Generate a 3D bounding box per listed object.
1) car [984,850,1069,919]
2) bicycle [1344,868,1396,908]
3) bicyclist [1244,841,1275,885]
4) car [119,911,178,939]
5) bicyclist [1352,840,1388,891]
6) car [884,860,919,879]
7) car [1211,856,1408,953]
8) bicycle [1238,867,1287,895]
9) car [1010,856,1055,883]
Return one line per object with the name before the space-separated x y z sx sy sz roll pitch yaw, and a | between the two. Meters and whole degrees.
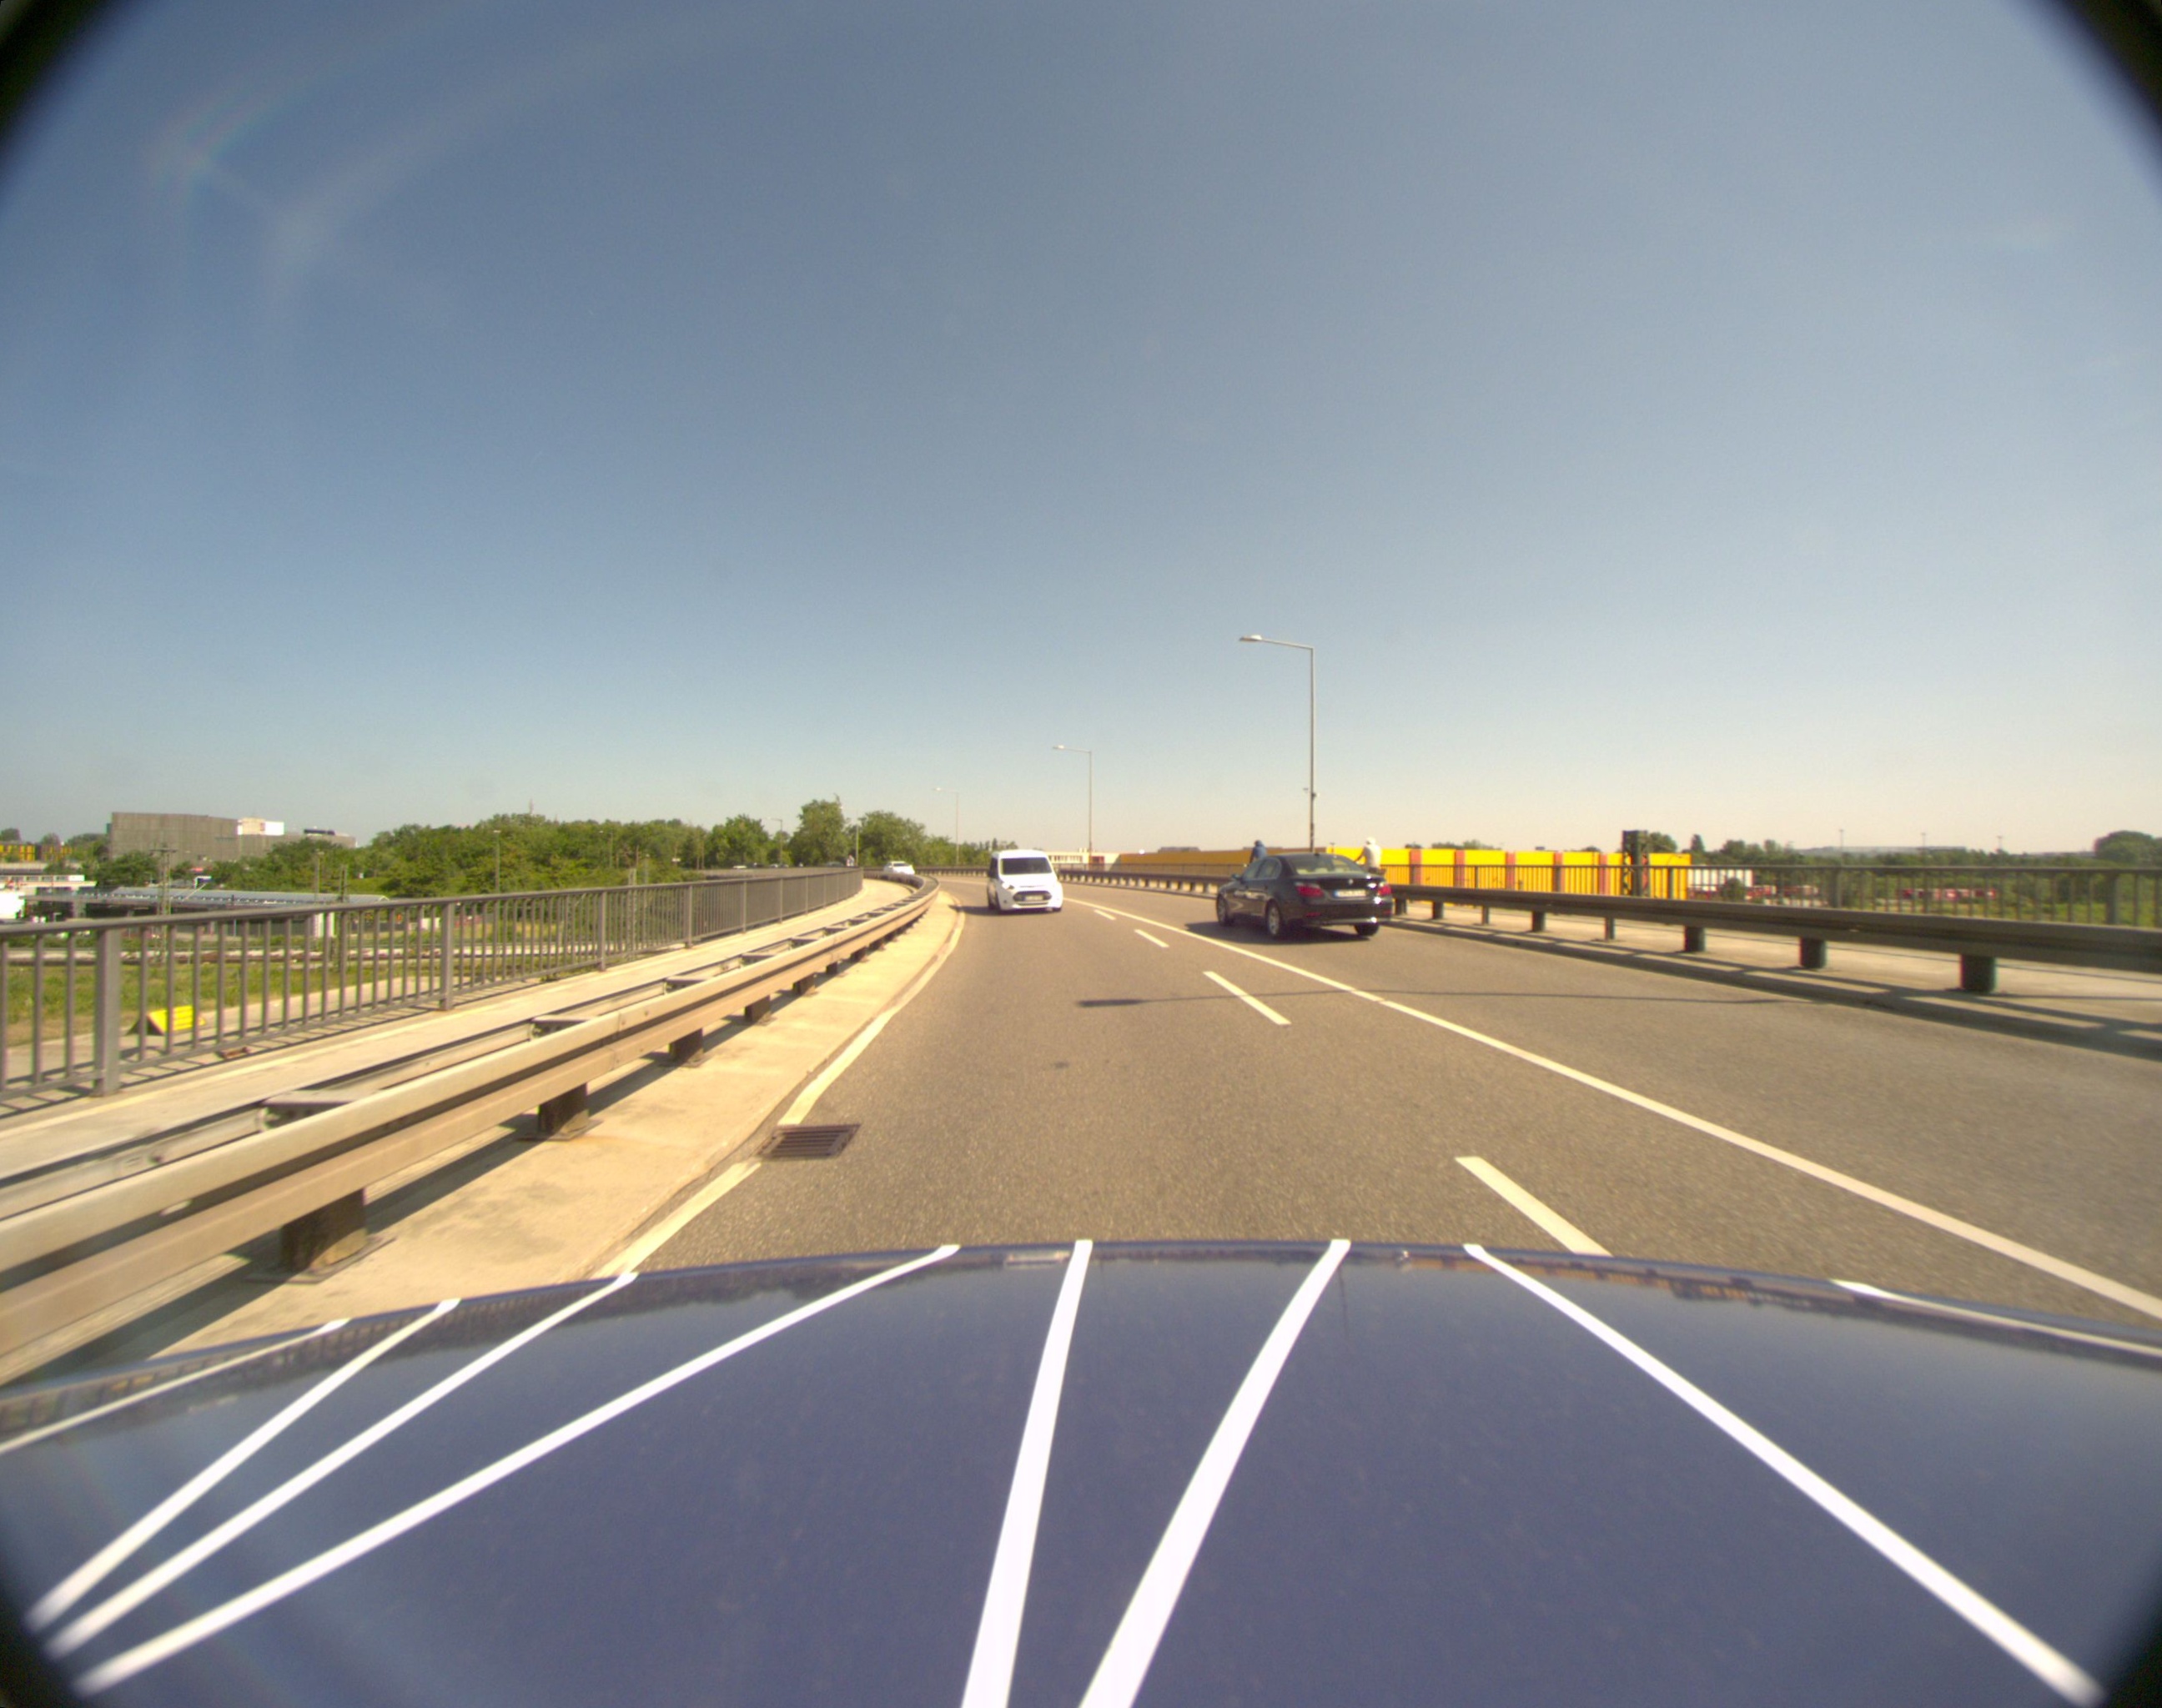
car | -1.741 0.812 22.598 1.899 1.785 4.443 -2 0 -12
bicycle | 7.773 0.905 20.529 0.576 1.040 1.709 0 -1 -7
bicyclist | 6.204 0.294 26.458 0.662 1.488 1.015 -2 2 -10
car | -105.649 8.039 86.062 5.366 2.650 2.309 0 6 19
bicyclist | 7.751 0.297 20.421 0.490 1.321 0.945 -2 2 -8
car | -15.258 1.290 64.545 1.850 1.479 4.143 -2 0 -28
car | 3.953 0.800 14.065 1.861 1.433 4.513 -2 0 -6
bicycle | 6.278 0.926 26.417 0.931 0.886 1.966 -2 0 -9
car | -2.905 0.874 44.469 1.825 1.421 4.858 -1 0 -13
